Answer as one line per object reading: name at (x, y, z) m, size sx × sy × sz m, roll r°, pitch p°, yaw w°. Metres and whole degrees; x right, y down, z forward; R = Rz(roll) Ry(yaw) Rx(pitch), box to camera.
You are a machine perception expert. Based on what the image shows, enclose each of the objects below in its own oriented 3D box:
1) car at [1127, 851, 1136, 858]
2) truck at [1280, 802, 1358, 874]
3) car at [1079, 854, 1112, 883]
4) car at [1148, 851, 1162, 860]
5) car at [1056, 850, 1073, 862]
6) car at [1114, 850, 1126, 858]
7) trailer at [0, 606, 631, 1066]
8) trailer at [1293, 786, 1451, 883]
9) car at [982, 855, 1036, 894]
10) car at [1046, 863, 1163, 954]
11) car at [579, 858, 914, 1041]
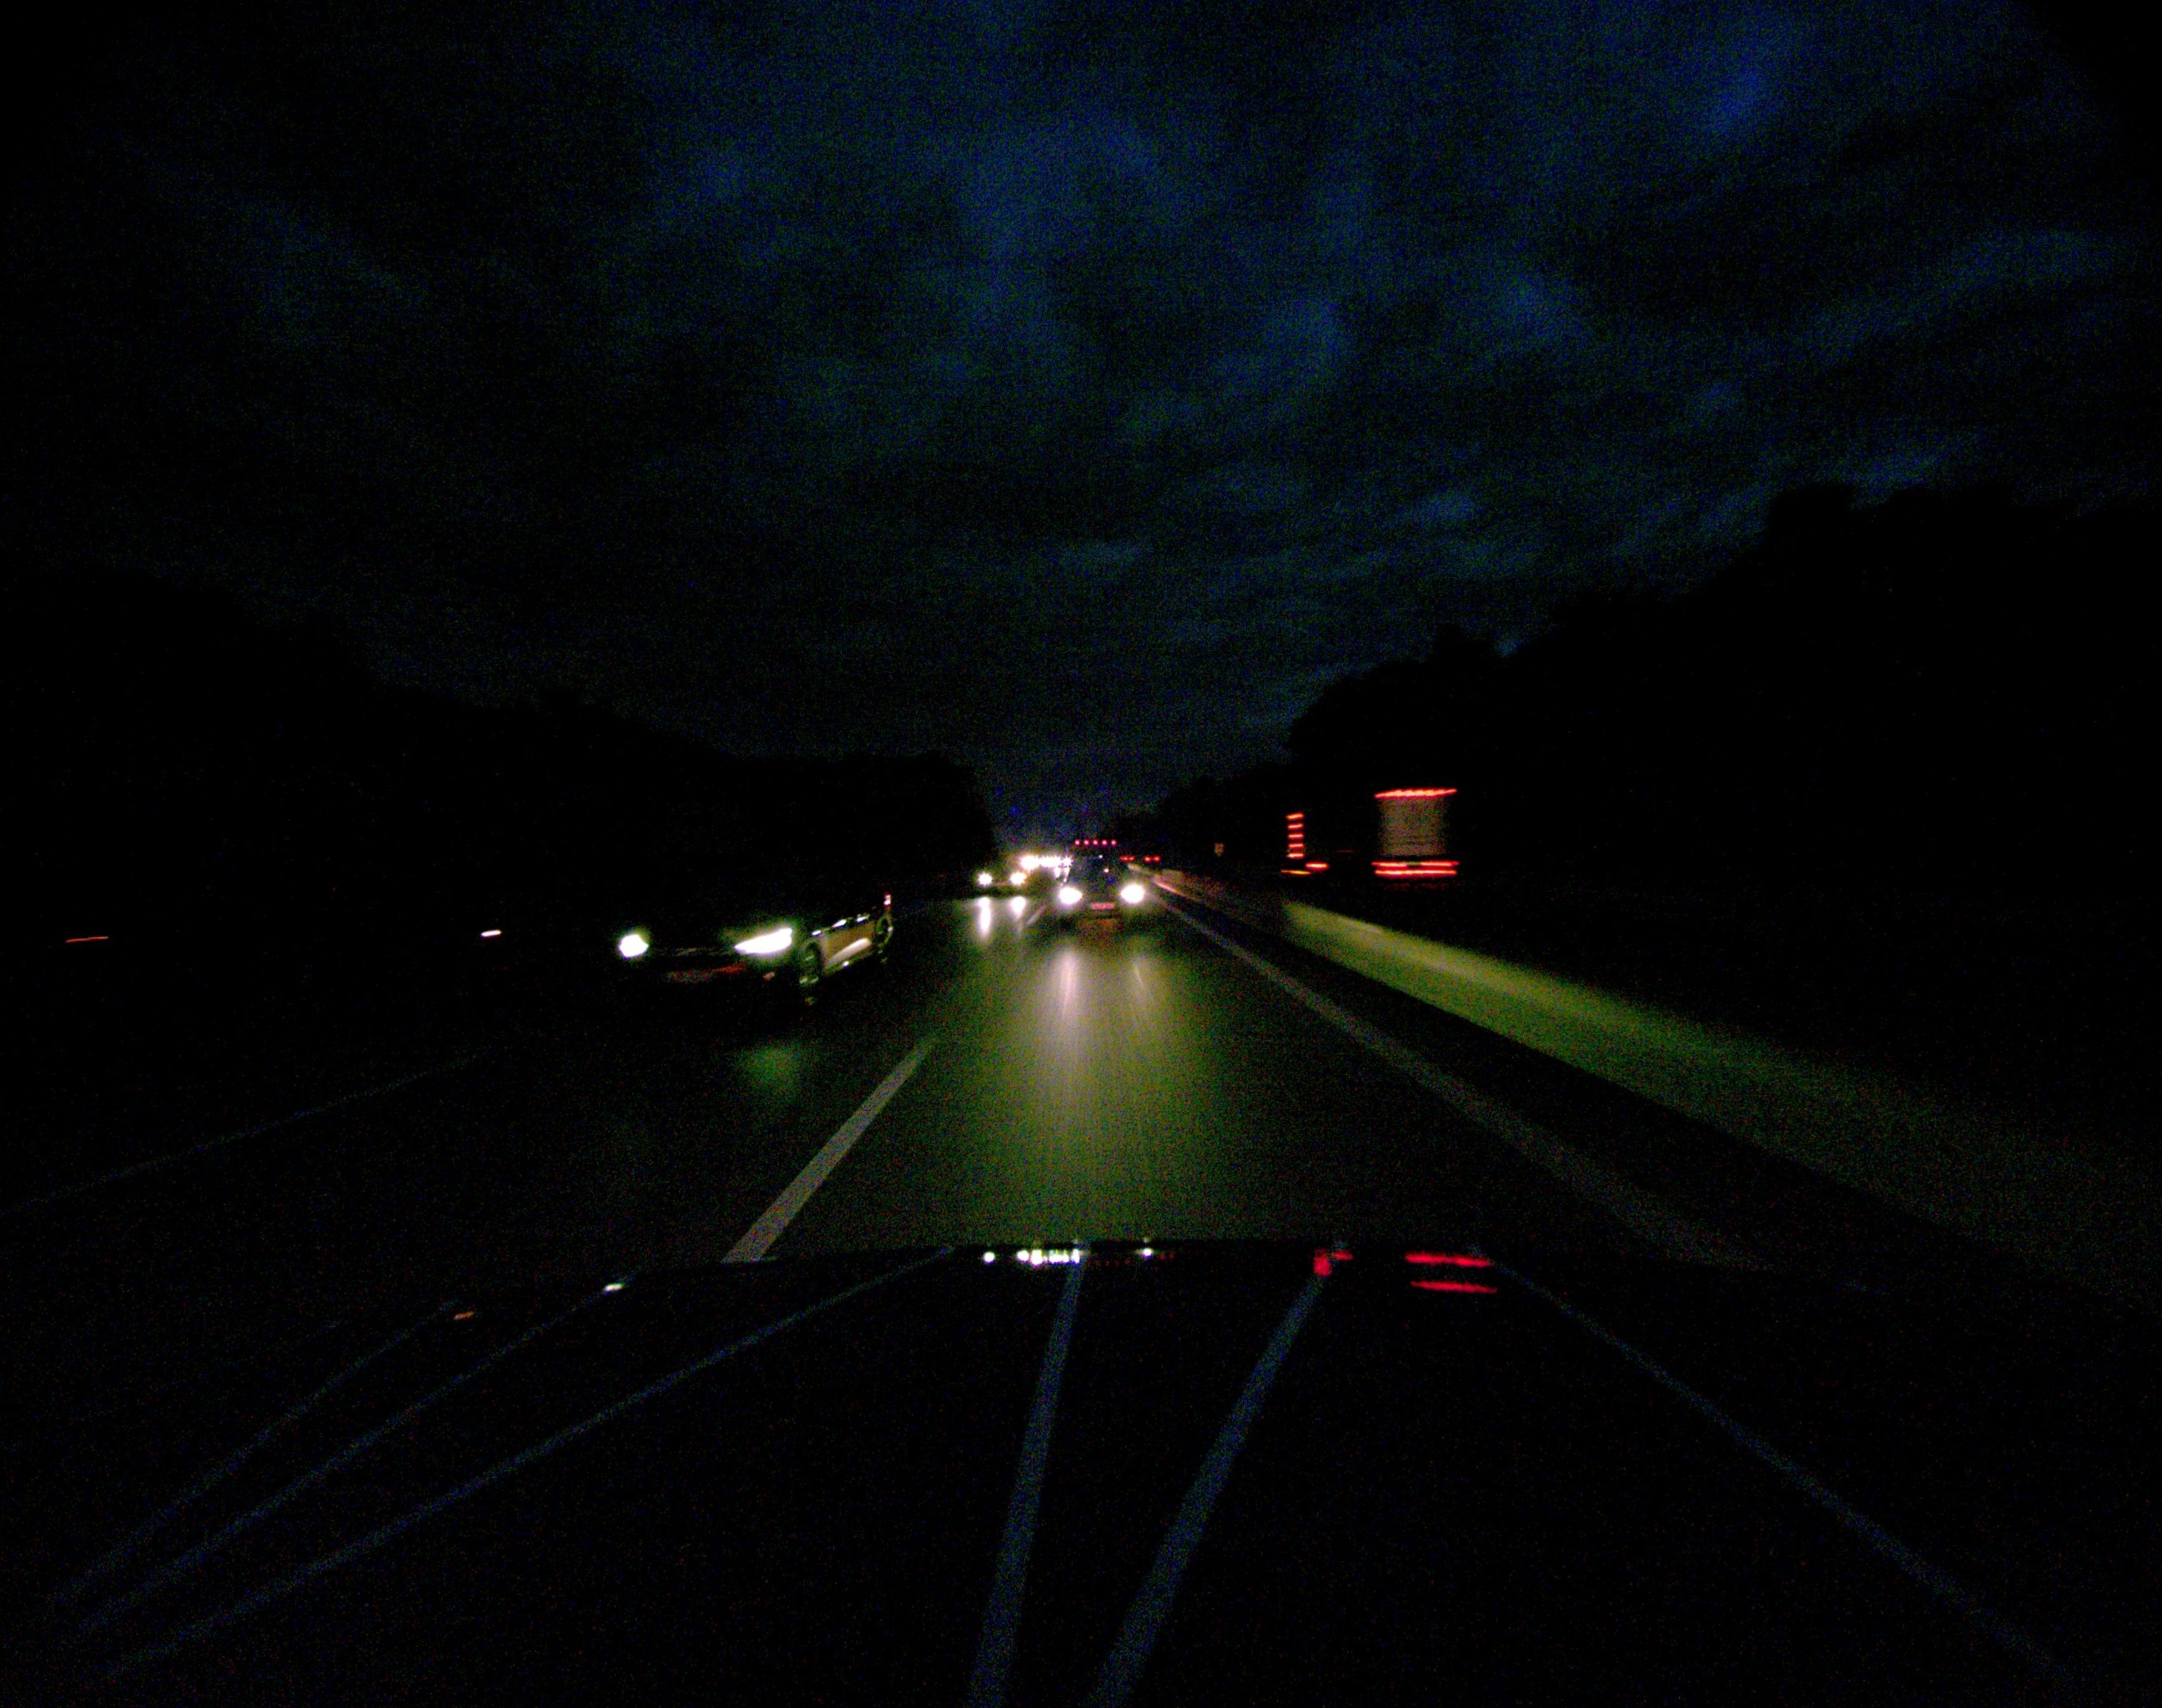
car at (11.362, 0.034, 170.654) m, size 1.759 × 1.420 × 5.362 m, roll -2°, pitch 0°, yaw 0°
truck at (14.479, -0.925, 46.746) m, size 2.656 × 4.107 × 6.523 m, roll -1°, pitch 0°, yaw 0°
car at (0.832, 0.790, 43.810) m, size 1.813 × 1.458 × 5.130 m, roll 0°, pitch 2°, yaw 1°
car at (11.643, 0.269, 120.071) m, size 1.781 × 1.393 × 4.939 m, roll -2°, pitch 0°, yaw 0°
car at (-2.322, 0.354, 106.033) m, size 1.999 × 1.539 × 3.999 m, roll -1°, pitch -2°, yaw -6°
car at (7.317, 0.002, 142.831) m, size 1.998 × 1.393 × 4.687 m, roll -2°, pitch 0°, yaw 0°
trailer at (-10.968, -0.155, 10.636) m, size 2.914 × 4.076 × 10.357 m, roll -1°, pitch 0°, yaw 1°
trailer at (14.539, -0.884, 39.851) m, size 2.656 × 4.107 × 14.324 m, roll -1°, pitch 0°, yaw 0°
car at (-3.147, 0.859, 34.058) m, size 1.914 × 1.528 × 5.230 m, roll -1°, pitch 1°, yaw 0°
car at (0.476, 0.911, 14.606) m, size 1.879 × 1.435 × 4.452 m, roll -1°, pitch 0°, yaw 2°
car at (-3.688, 0.919, 9.644) m, size 1.908 × 1.633 × 5.053 m, roll -2°, pitch -1°, yaw 1°
